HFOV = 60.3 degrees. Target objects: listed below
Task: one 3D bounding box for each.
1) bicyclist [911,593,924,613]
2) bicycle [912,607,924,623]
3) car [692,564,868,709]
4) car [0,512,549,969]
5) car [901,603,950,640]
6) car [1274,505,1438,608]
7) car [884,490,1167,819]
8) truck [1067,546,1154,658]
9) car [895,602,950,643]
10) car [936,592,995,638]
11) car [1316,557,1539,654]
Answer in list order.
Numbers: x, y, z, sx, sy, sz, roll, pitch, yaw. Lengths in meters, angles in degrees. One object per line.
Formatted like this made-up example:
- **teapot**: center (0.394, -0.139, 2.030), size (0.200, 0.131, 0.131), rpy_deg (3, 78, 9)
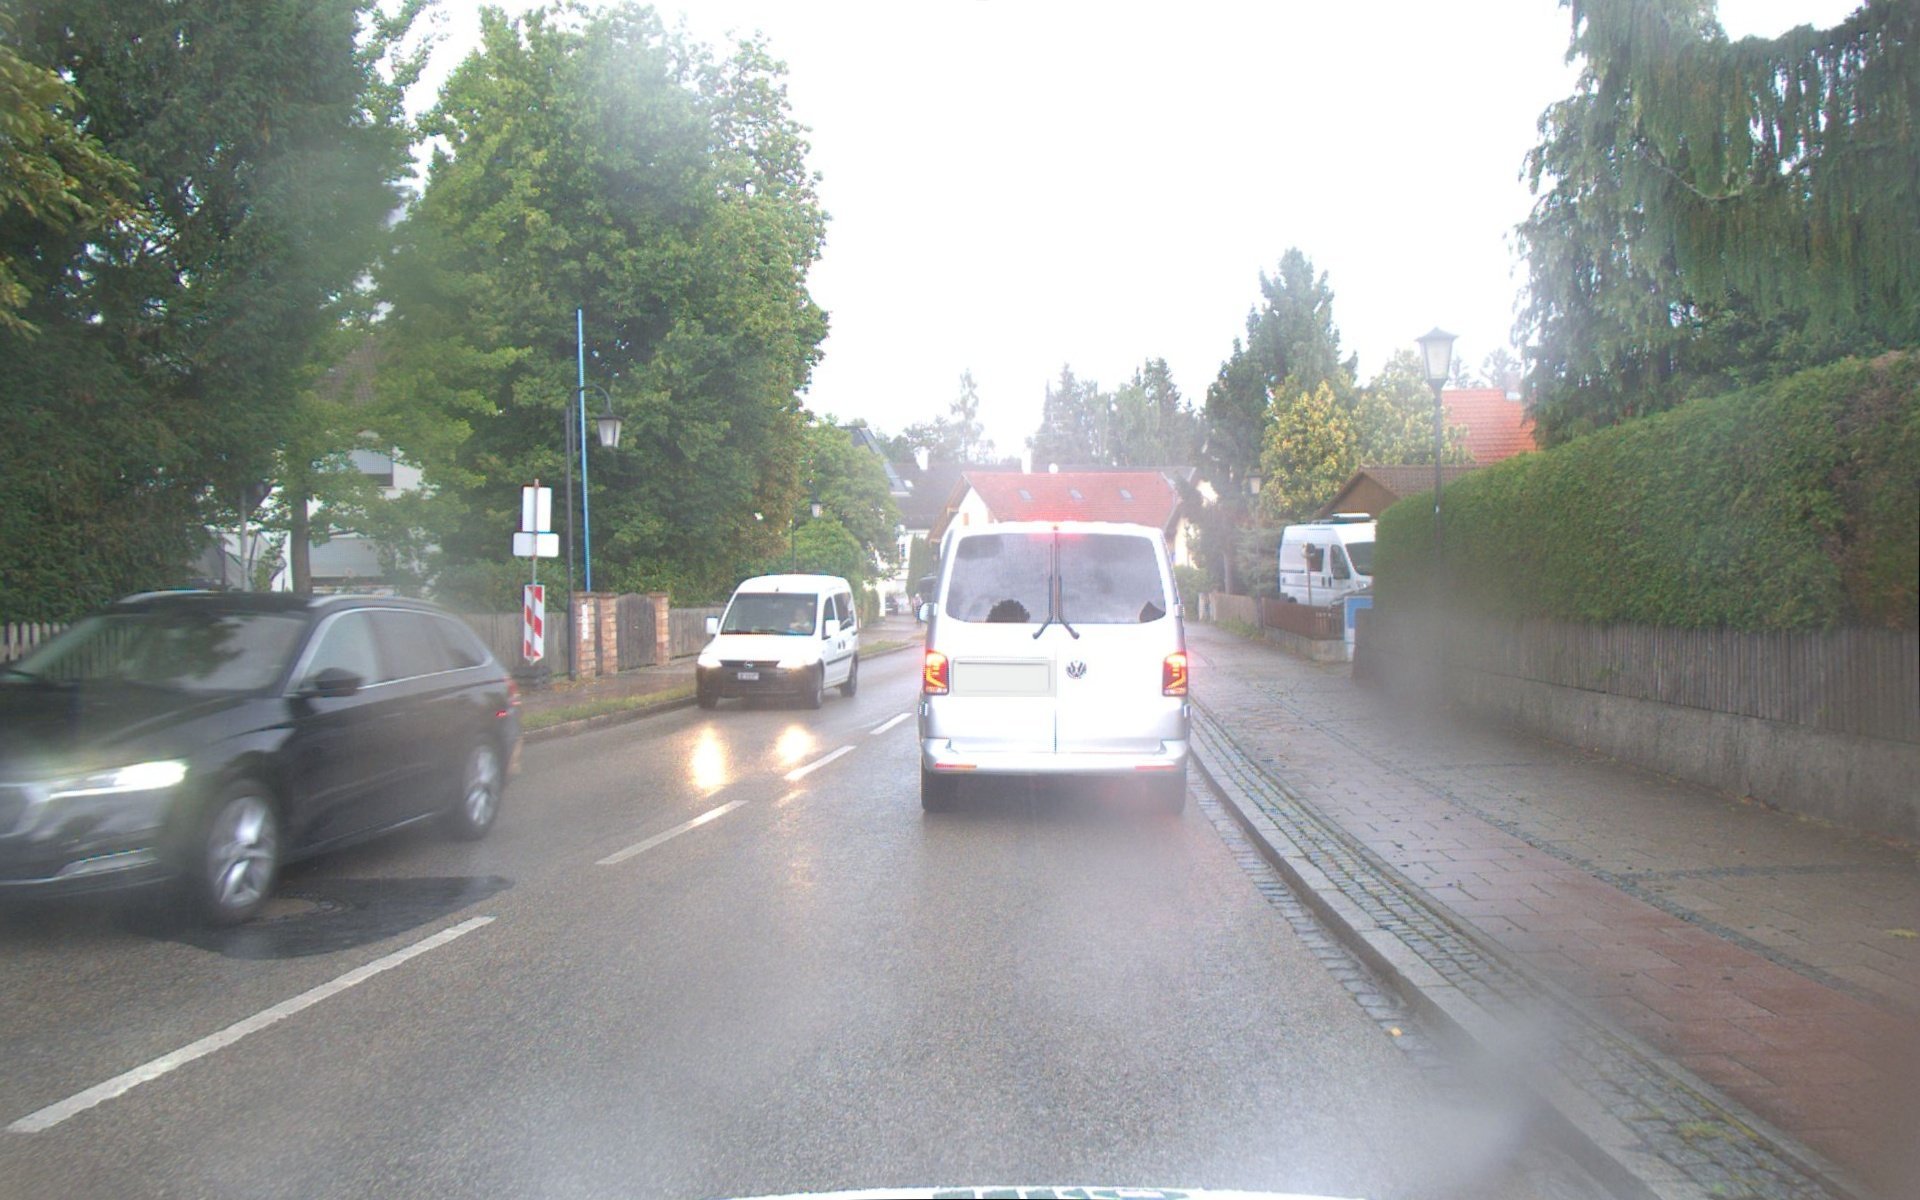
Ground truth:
- **bicyclist**: center (-2.155, 0.146, 84.770), size (0.575, 1.039, 1.061), rpy_deg (0, 0, 4)
- **bicycle**: center (-2.168, 0.781, 84.838), size (0.446, 0.812, 1.978), rpy_deg (0, 0, 4)
- **car**: center (-2.394, 0.481, 23.015), size (1.605, 1.796, 4.333), rpy_deg (1, -1, 5)
- **car**: center (-3.722, 0.540, 8.432), size (1.746, 1.692, 4.449), rpy_deg (0, -1, 6)
- **car**: center (-1.390, 0.876, 67.735), size (1.583, 1.470, 3.673), rpy_deg (0, -1, 6)
- **car**: center (9.116, -0.935, 38.532), size (1.957, 2.211, 4.942), rpy_deg (1, -1, -9)
- **car**: center (0.634, 0.355, 12.437), size (1.762, 2.049, 4.003), rpy_deg (1, -1, 7)
- **truck**: center (4.459, 0.085, 49.861), size (2.423, 3.128, 6.299), rpy_deg (1, -1, 4)
- **car**: center (-1.371, 0.828, 61.578), size (1.583, 1.470, 3.673), rpy_deg (0, -1, 6)
- **car**: center (0.217, 0.505, 54.590), size (1.583, 1.470, 3.673), rpy_deg (0, -1, 6)
- **car**: center (9.363, 0.089, 33.300), size (4.009, 1.782, 1.695), rpy_deg (-1, 2, 1)
